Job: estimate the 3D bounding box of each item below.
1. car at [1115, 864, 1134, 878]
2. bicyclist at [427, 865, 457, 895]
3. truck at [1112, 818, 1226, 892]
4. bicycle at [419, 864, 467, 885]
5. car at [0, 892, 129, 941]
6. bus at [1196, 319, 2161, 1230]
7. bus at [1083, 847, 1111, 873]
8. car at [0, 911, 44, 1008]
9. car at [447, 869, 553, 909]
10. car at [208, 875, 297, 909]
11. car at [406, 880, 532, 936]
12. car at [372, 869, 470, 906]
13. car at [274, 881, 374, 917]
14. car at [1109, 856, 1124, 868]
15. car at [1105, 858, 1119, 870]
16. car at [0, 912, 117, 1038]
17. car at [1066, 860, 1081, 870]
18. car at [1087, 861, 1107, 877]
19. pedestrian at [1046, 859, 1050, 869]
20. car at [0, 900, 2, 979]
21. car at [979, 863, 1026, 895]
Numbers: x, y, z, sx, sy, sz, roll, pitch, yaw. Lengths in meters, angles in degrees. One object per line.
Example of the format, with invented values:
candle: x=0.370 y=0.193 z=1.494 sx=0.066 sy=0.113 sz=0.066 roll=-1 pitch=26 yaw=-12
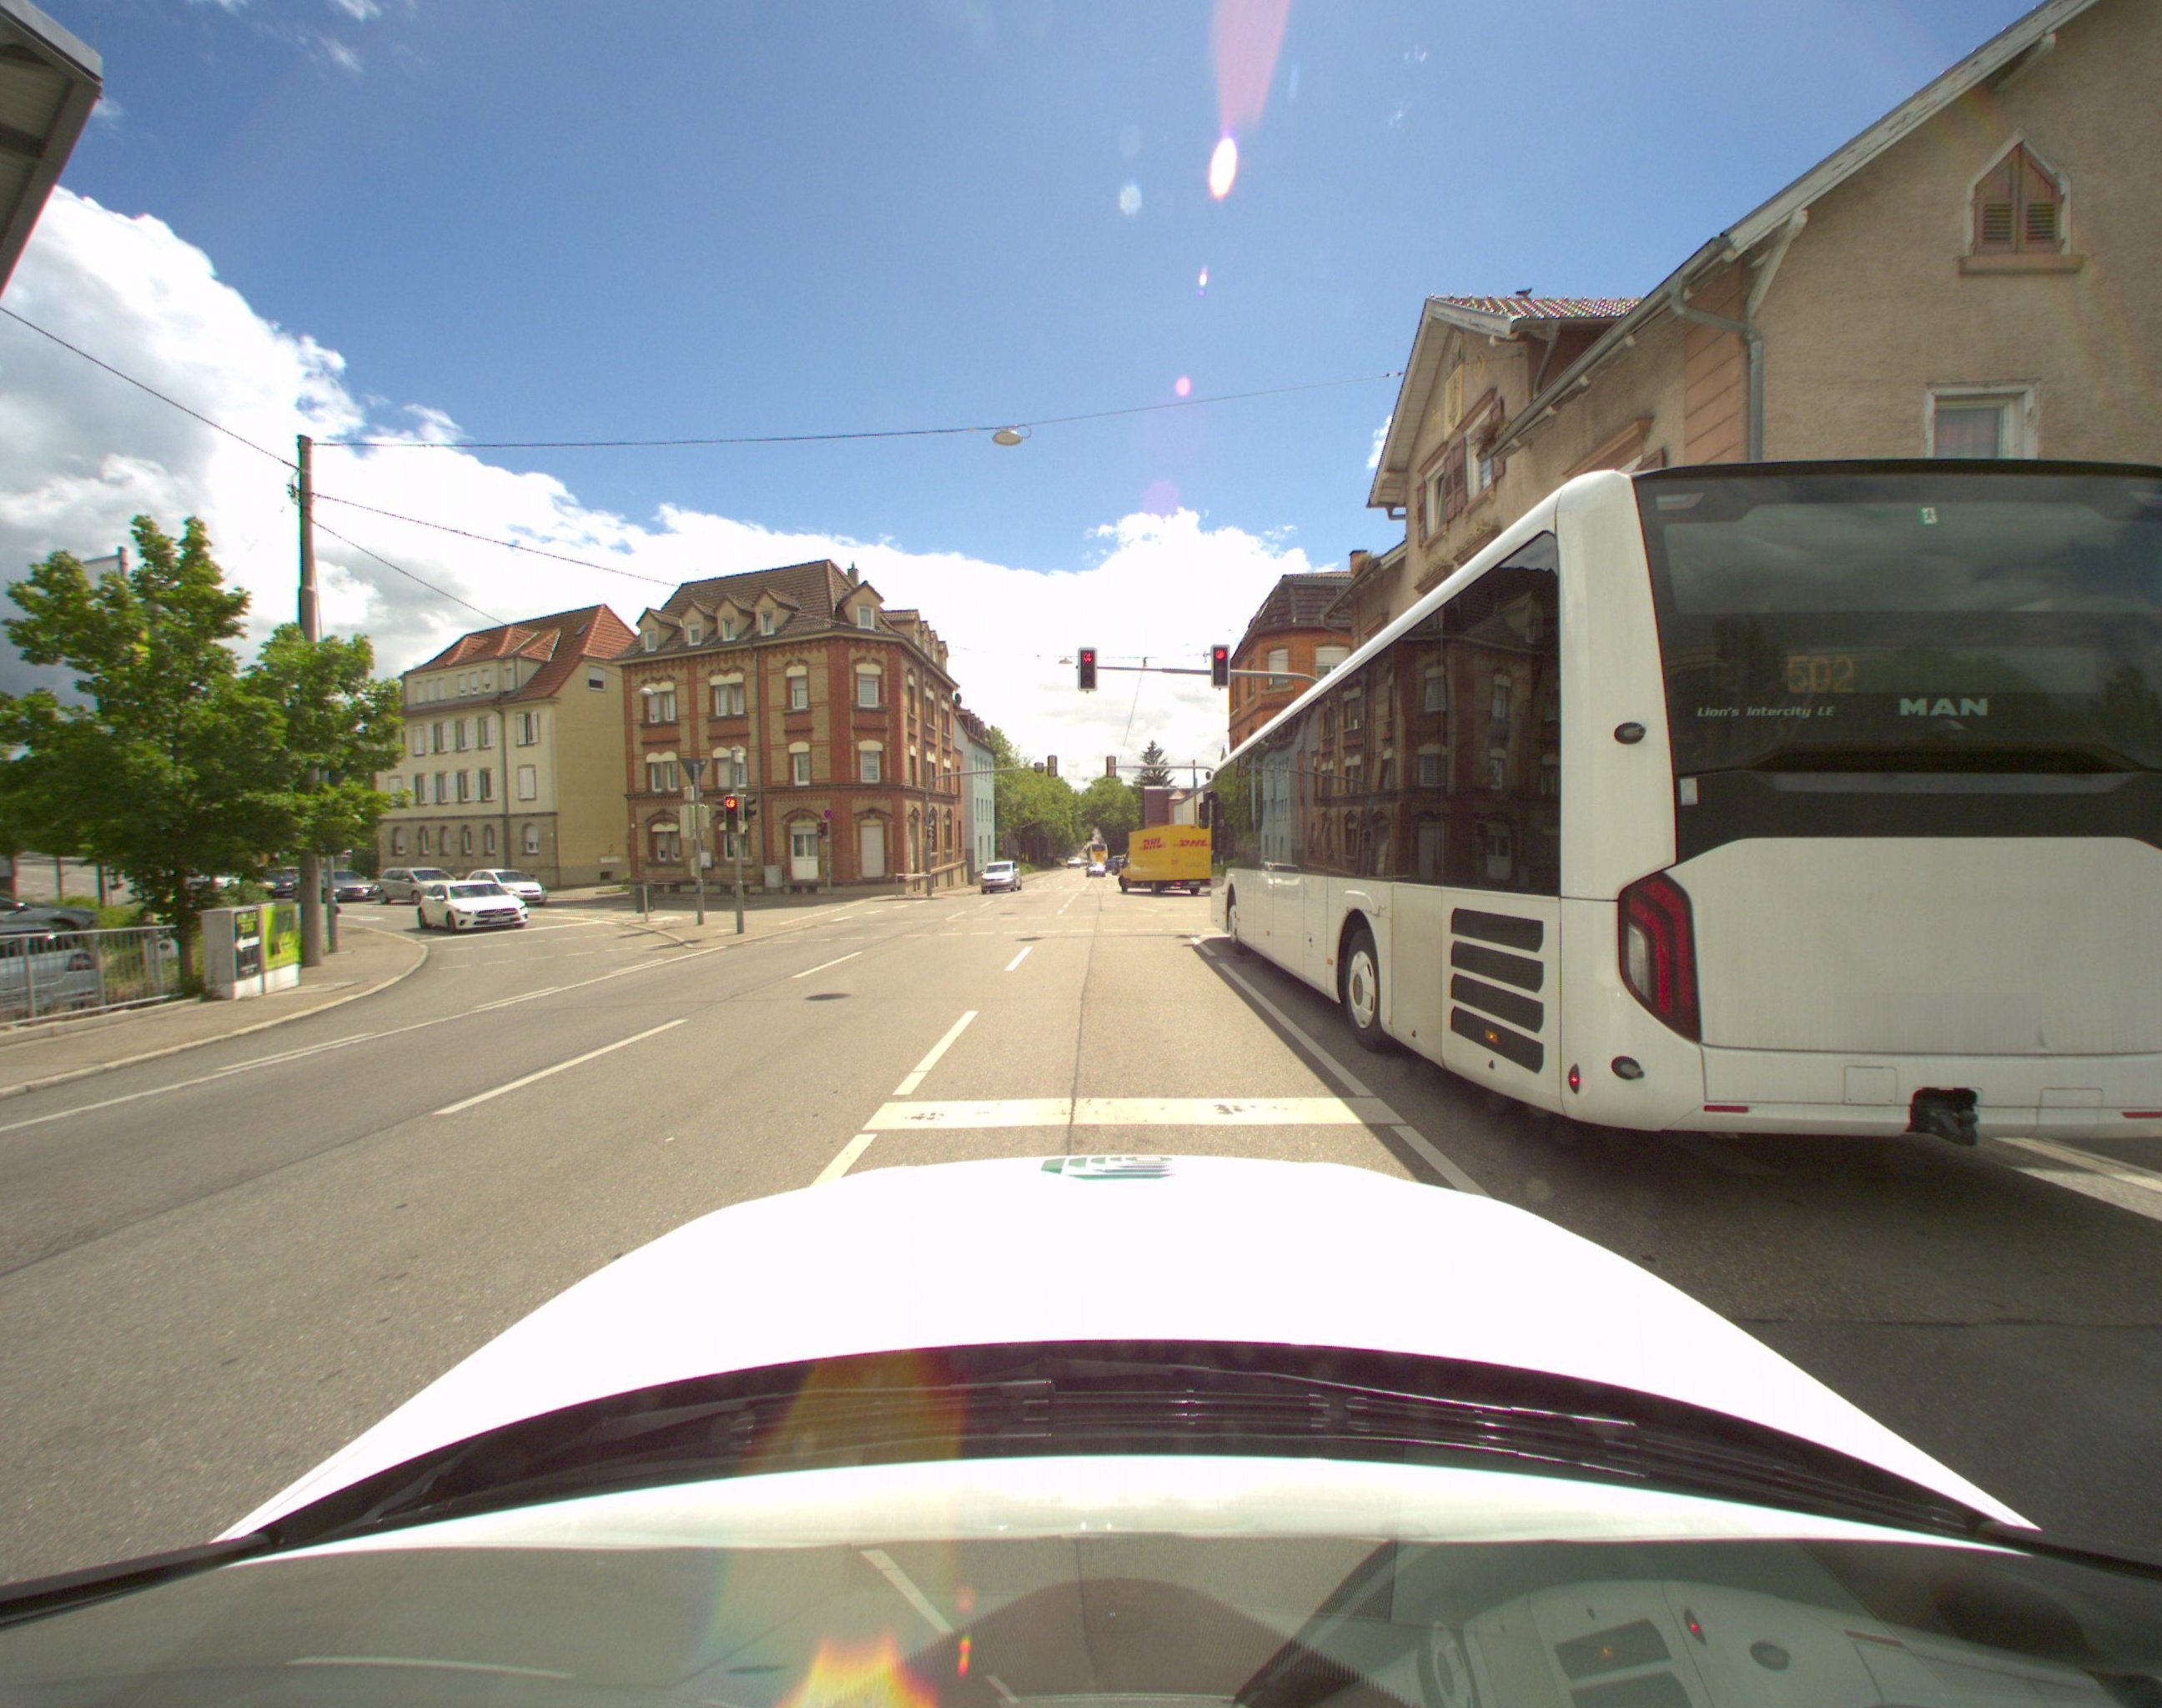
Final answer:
car: x=4.443 y=1.761 z=84.387 sx=1.858 sy=1.367 sz=4.549 roll=-2 pitch=0 yaw=2
bicyclist: x=-32.932 y=1.317 z=41.980 sx=1.065 sy=1.499 sz=0.592 roll=-2 pitch=0 yaw=10
truck: x=3.650 y=0.074 z=35.504 sx=2.547 sy=2.913 sz=6.534 roll=0 pitch=-1 yaw=-17
bicycle: x=-32.885 y=1.059 z=41.971 sx=2.172 sy=1.019 sz=0.608 roll=-2 pitch=0 yaw=9
car: x=-29.261 y=1.733 z=22.222 sx=1.795 sy=1.186 sz=4.025 roll=-1 pitch=0 yaw=31
bus: x=3.480 y=-0.263 z=9.393 sx=2.893 sy=3.510 sz=12.492 roll=0 pitch=-1 yaw=2
bus: x=2.280 y=0.830 z=121.543 sx=3.292 sy=3.631 sz=11.233 roll=-2 pitch=0 yaw=-2
car: x=-19.720 y=1.833 z=14.159 sx=3.744 sy=1.523 sz=1.526 roll=-1 pitch=0 yaw=30
car: x=-23.607 y=1.396 z=33.069 sx=3.951 sy=1.497 sz=1.711 roll=-1 pitch=0 yaw=24
car: x=-42.018 y=1.876 z=41.294 sx=4.291 sy=1.586 sz=2.012 roll=-1 pitch=0 yaw=29
car: x=-18.253 y=1.544 z=24.223 sx=4.334 sy=1.447 sz=1.875 roll=-2 pitch=0 yaw=37
car: x=-29.215 y=1.474 z=36.056 sx=3.951 sy=1.519 sz=1.757 roll=-1 pitch=0 yaw=24
car: x=-35.459 y=2.083 z=38.148 sx=3.951 sy=1.519 sz=2.011 roll=-1 pitch=0 yaw=24
car: x=5.611 y=1.280 z=129.434 sx=2.086 sy=1.830 sz=4.140 roll=-1 pitch=0 yaw=-1
car: x=3.614 y=1.166 z=94.773 sx=1.603 sy=1.376 sz=4.002 roll=-2 pitch=0 yaw=2
car: x=-16.125 y=1.741 z=12.190 sx=3.638 sy=1.575 sz=1.766 roll=-1 pitch=-2 yaw=34
car: x=-1.202 y=1.768 z=130.960 sx=2.199 sy=1.613 sz=4.549 roll=-2 pitch=0 yaw=2
car: x=1.562 y=1.435 z=78.311 sx=1.858 sy=1.367 sz=4.549 roll=-2 pitch=0 yaw=2
pedestrian: x=-5.519 y=1.654 z=136.865 sx=0.604 sy=1.758 sz=0.653 roll=-2 pitch=0 yaw=0
car: x=-23.412 y=1.737 z=16.439 sx=3.371 sy=1.575 sz=1.526 roll=-1 pitch=0 yaw=30
car: x=-4.205 y=1.333 z=44.393 sx=1.928 sy=1.563 sz=4.390 roll=-2 pitch=0 yaw=2
